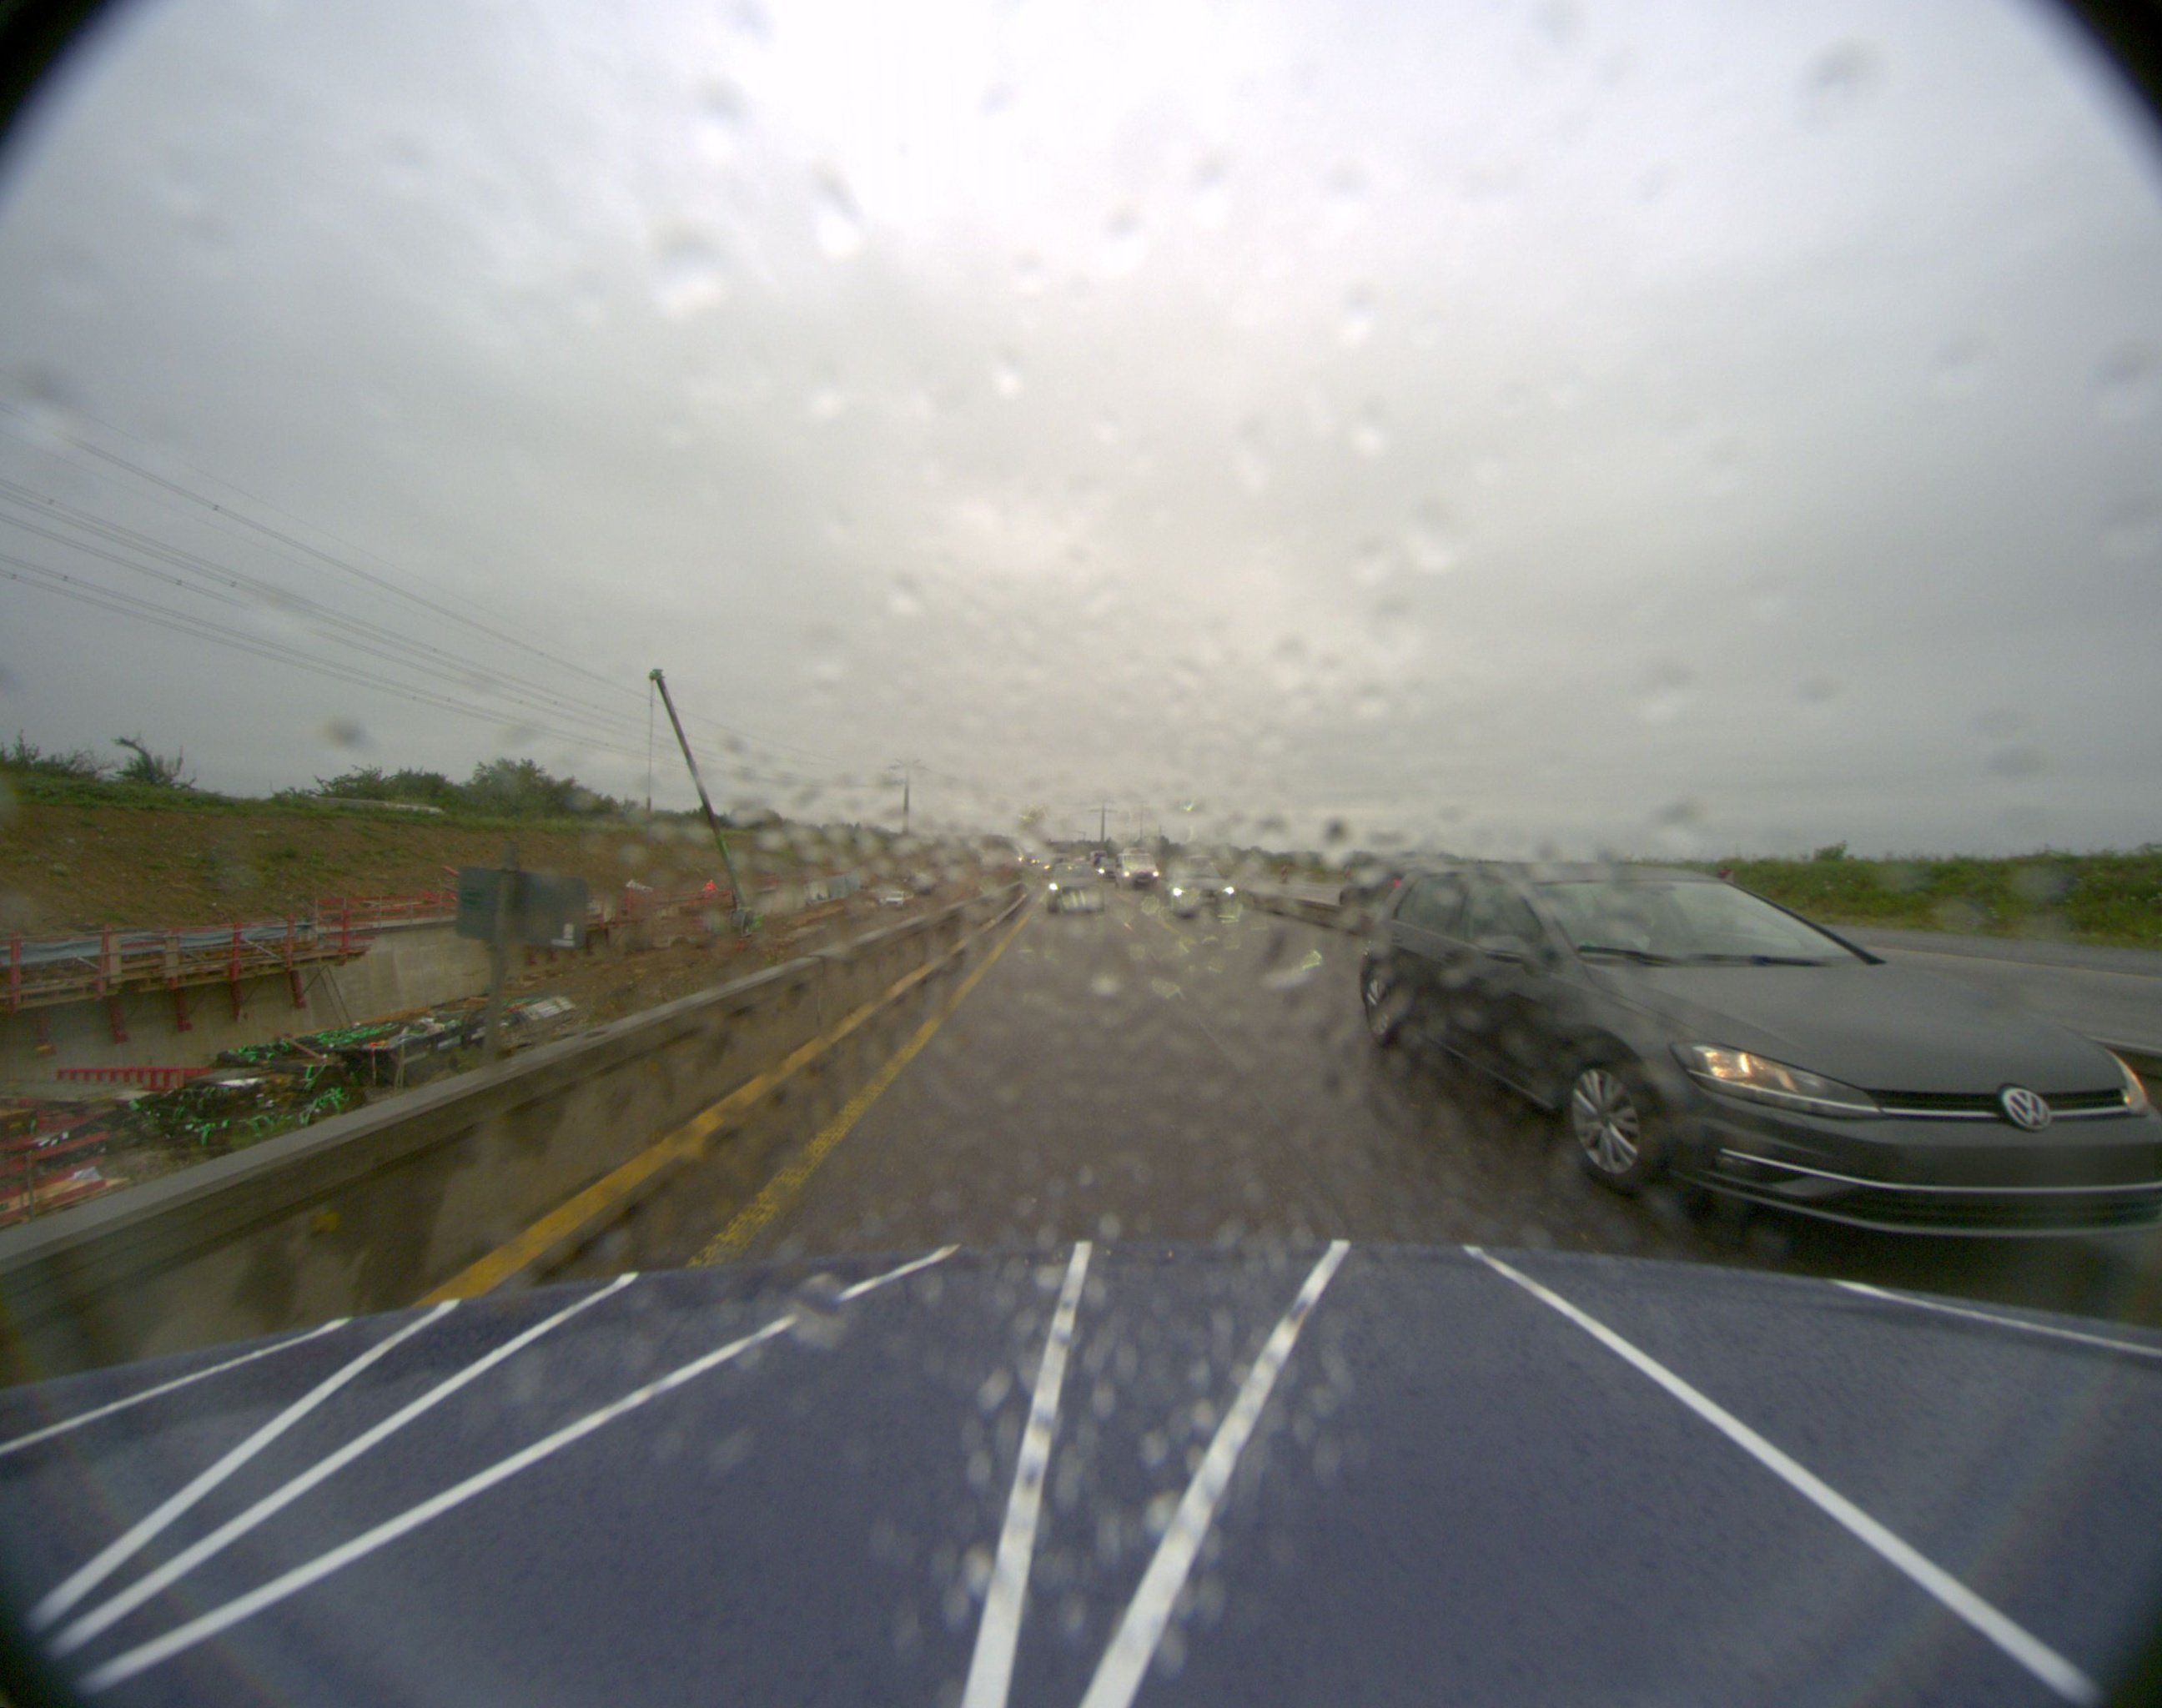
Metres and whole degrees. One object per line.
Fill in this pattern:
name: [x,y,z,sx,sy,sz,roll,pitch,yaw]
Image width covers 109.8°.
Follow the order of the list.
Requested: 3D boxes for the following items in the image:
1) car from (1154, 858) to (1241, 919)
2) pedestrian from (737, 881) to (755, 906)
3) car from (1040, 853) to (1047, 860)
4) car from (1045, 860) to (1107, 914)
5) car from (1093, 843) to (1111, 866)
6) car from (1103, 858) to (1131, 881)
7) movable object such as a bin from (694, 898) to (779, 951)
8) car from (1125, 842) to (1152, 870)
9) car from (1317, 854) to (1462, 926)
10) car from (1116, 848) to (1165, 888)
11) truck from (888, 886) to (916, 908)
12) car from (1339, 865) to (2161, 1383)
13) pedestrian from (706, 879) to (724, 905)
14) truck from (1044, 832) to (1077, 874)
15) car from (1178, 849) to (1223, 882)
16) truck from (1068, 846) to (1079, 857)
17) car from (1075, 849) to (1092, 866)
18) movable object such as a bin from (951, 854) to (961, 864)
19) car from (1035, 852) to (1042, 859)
car: [3.148,0.890,21.383,1.799,1.389,4.268,-2,1,1]
pedestrian: [-31.152,3.681,70.735,0.917,2.219,1.006,-6,2,2]
car: [-9.701,0.618,195.152,1.800,1.850,4.285,-2,1,-3]
car: [-0.092,1.021,25.125,1.799,1.524,4.308,-2,0,2]
car: [2.801,0.064,102.886,1.999,2.995,5.778,-2,0,-1]
car: [2.586,1.087,55.303,1.799,1.521,4.067,-2,1,0]
movable object such as a bin: [-24.017,4.869,53.315,3.803,2.790,4.849,-1,6,-3]
car: [5.414,0.203,71.720,2.029,2.533,5.958,-1,0,-1]
car: [7.102,0.746,18.022,1.614,1.434,4.461,-2,0,0]
car: [3.012,0.686,39.715,2.161,1.848,5.179,-2,1,1]
truck: [-18.565,4.402,78.933,1.767,1.860,5.784,0,1,-2]
car: [3.049,0.851,4.350,1.654,1.414,4.079,-2,1,-1]
pedestrian: [-33.205,3.416,68.985,0.918,2.233,1.005,-6,2,-6]
truck: [-2.012,-0.146,71.496,2.837,3.617,9.117,-2,1,-3]
car: [6.722,0.632,43.100,1.795,1.713,4.287,-2,0,0]
truck: [-1.981,-0.801,203.558,2.365,2.877,6.544,0,1,-5]
car: [0.290,0.358,86.851,1.800,1.850,4.286,-2,1,-1]
movable object such as a bin: [-33.375,1.359,203.654,2.253,2.703,3.997,-2,1,-5]
car: [-11.972,0.549,214.505,1.799,1.850,4.286,-2,1,0]
